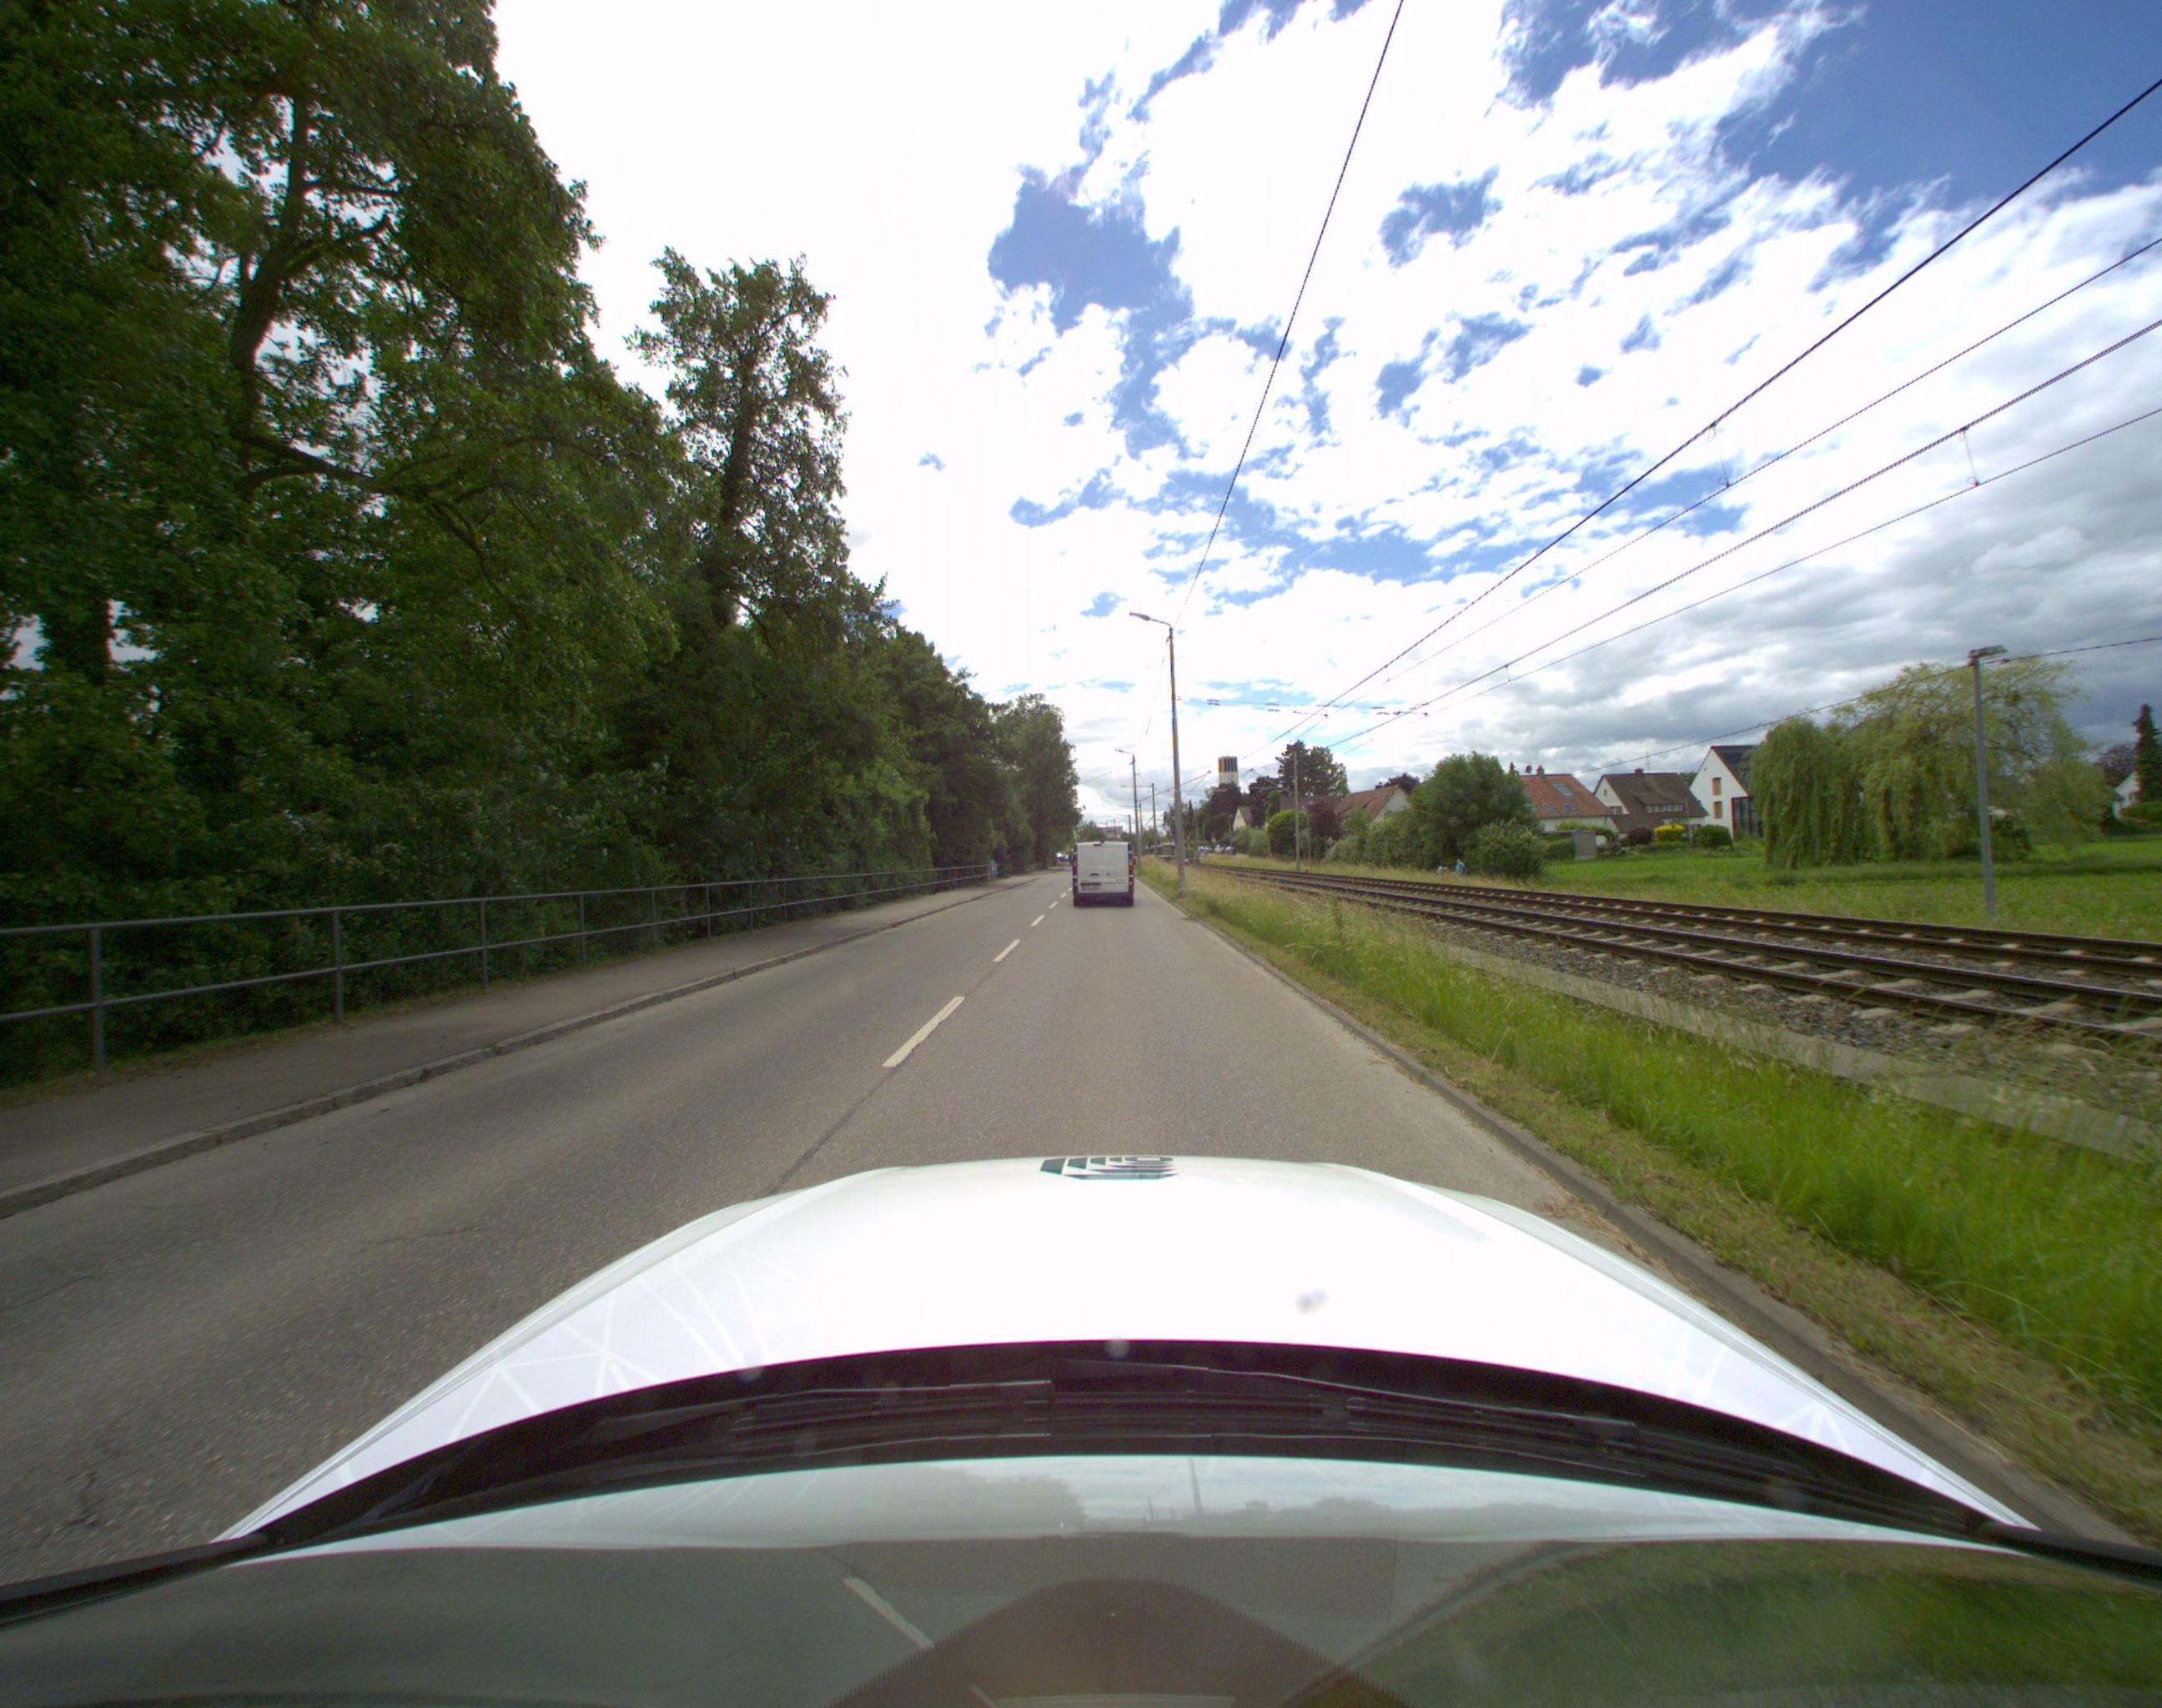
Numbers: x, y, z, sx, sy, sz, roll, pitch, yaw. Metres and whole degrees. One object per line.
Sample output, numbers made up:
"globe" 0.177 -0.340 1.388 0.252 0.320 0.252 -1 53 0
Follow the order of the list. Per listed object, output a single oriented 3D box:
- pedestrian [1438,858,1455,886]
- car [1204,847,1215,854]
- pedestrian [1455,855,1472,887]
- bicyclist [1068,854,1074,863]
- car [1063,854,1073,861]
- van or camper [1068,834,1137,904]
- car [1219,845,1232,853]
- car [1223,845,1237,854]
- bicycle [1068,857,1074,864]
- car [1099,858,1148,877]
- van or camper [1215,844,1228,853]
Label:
"pedestrian" 19.115 0.932 42.597 0.596 1.430 0.666 0 0 1
"car" 28.732 -0.791 182.581 1.876 1.522 4.003 -2 0 2
"pedestrian" 19.987 0.892 42.564 0.614 1.622 0.584 0 0 2
"bicyclist" -1.653 0.715 133.963 0.775 1.549 0.870 -3 0 1
"car" -2.838 0.753 172.915 1.734 1.504 4.470 -4 0 -5
"van or camper" 0.706 0.461 26.131 1.986 2.014 4.448 -1 0 2
"car" 27.614 -0.901 156.161 1.876 1.522 4.003 -2 0 2
"car" 27.390 -0.875 150.051 1.876 1.522 4.003 -2 0 2
"bicycle" -1.609 1.057 133.812 0.752 1.226 2.309 -4 0 1
"car" 3.689 1.126 70.086 3.964 1.479 1.961 -2 0 8
"van or camper" 27.739 -1.069 160.883 1.898 1.826 5.051 -2 0 2
